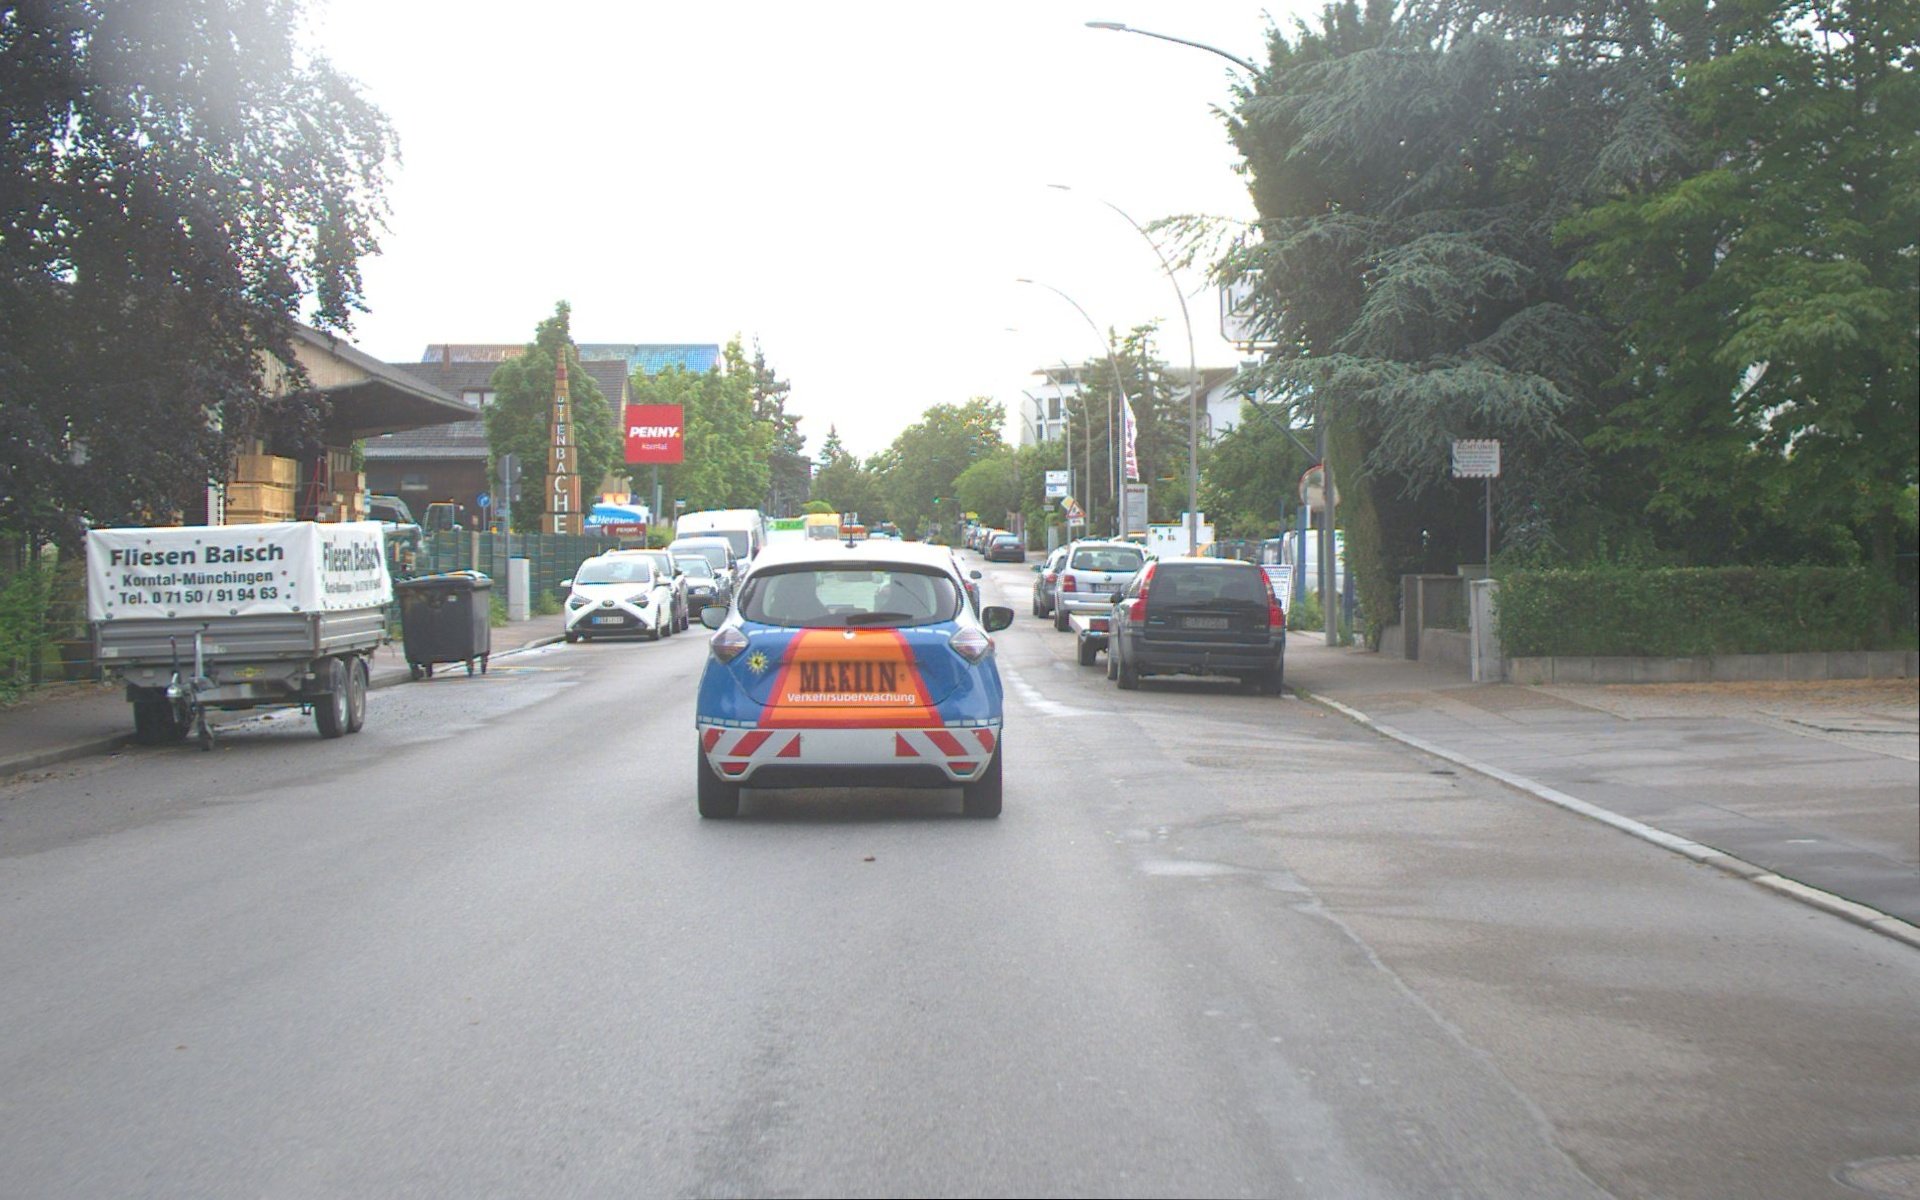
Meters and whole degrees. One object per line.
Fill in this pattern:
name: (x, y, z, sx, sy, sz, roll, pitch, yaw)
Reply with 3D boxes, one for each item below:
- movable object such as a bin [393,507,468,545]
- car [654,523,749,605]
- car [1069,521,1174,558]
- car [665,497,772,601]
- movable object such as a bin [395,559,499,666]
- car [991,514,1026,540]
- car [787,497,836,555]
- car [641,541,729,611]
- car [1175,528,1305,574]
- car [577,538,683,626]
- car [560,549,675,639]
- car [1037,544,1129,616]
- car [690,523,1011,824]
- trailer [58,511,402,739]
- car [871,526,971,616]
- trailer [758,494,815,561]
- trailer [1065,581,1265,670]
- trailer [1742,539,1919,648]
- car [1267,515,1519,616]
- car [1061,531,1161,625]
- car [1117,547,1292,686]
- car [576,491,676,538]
movable object such as a bin: (-25.283, -3.534, 164.296, 3.421, 1.753, 2.000, 1, 1, -6)
car: (-6.054, -0.853, 80.897, 1.769, 1.762, 4.446, -3, 1, 0)
car: (6.844, -2.561, 145.938, 4.338, 1.470, 1.903, 1, 1, -1)
car: (-6.035, -1.308, 86.683, 2.158, 2.418, 6.460, -3, 1, 0)
movable object such as a bin: (-6.512, 0.148, 43.715, 1.100, 1.306, 1.425, 1, 1, 0)
car: (2.485, -3.735, 176.180, 1.589, 1.336, 4.093, 0, 1, -2)
car: (-6.640, -3.319, 154.204, 2.124, 2.529, 6.023, 0, 1, -2)
car: (-5.932, -0.536, 74.460, 1.661, 1.443, 4.318, -1, 1, -2)
car: (8.906, -1.579, 109.528, 3.986, 1.425, 1.631, 0, 1, -1)
car: (-6.232, -0.364, 65.233, 1.661, 1.579, 3.917, -2, 1, -1)
car: (-5.990, -0.126, 60.478, 1.616, 1.504, 3.660, -1, 1, 0)
car: (2.584, -0.447, 73.007, 1.738, 1.461, 4.546, 1, 1, 0)
car: (-0.623, 0.369, 20.289, 1.731, 1.625, 3.495, 0, 1, -1)
trailer: (-6.082, 0.148, 29.177, 1.929, 1.759, 4.548, 1, 1, 0)
car: (-0.727, -0.525, 61.071, 1.650, 1.516, 4.000, 1, 1, -2)
trailer: (-6.237, -2.626, 123.981, 1.812, 2.306, 4.731, -2, 1, -1)
trailer: (2.604, 0.292, 45.210, 2.173, 0.894, 6.637, 1, 2, 0)
trailer: (12.962, -0.135, 50.246, 1.768, 1.514, 4.806, 0, 1, -3)
car: (8.611, -0.701, 68.643, 4.731, 1.880, 2.000, 1, 1, 0)
car: (2.746, -0.424, 63.142, 1.739, 1.616, 4.373, 1, 1, 2)
car: (2.687, 0.140, 38.694, 1.740, 1.428, 4.648, 1, 1, 2)
car: (-15.052, -3.846, 155.126, 4.306, 2.007, 2.063, 1, 1, 0)
